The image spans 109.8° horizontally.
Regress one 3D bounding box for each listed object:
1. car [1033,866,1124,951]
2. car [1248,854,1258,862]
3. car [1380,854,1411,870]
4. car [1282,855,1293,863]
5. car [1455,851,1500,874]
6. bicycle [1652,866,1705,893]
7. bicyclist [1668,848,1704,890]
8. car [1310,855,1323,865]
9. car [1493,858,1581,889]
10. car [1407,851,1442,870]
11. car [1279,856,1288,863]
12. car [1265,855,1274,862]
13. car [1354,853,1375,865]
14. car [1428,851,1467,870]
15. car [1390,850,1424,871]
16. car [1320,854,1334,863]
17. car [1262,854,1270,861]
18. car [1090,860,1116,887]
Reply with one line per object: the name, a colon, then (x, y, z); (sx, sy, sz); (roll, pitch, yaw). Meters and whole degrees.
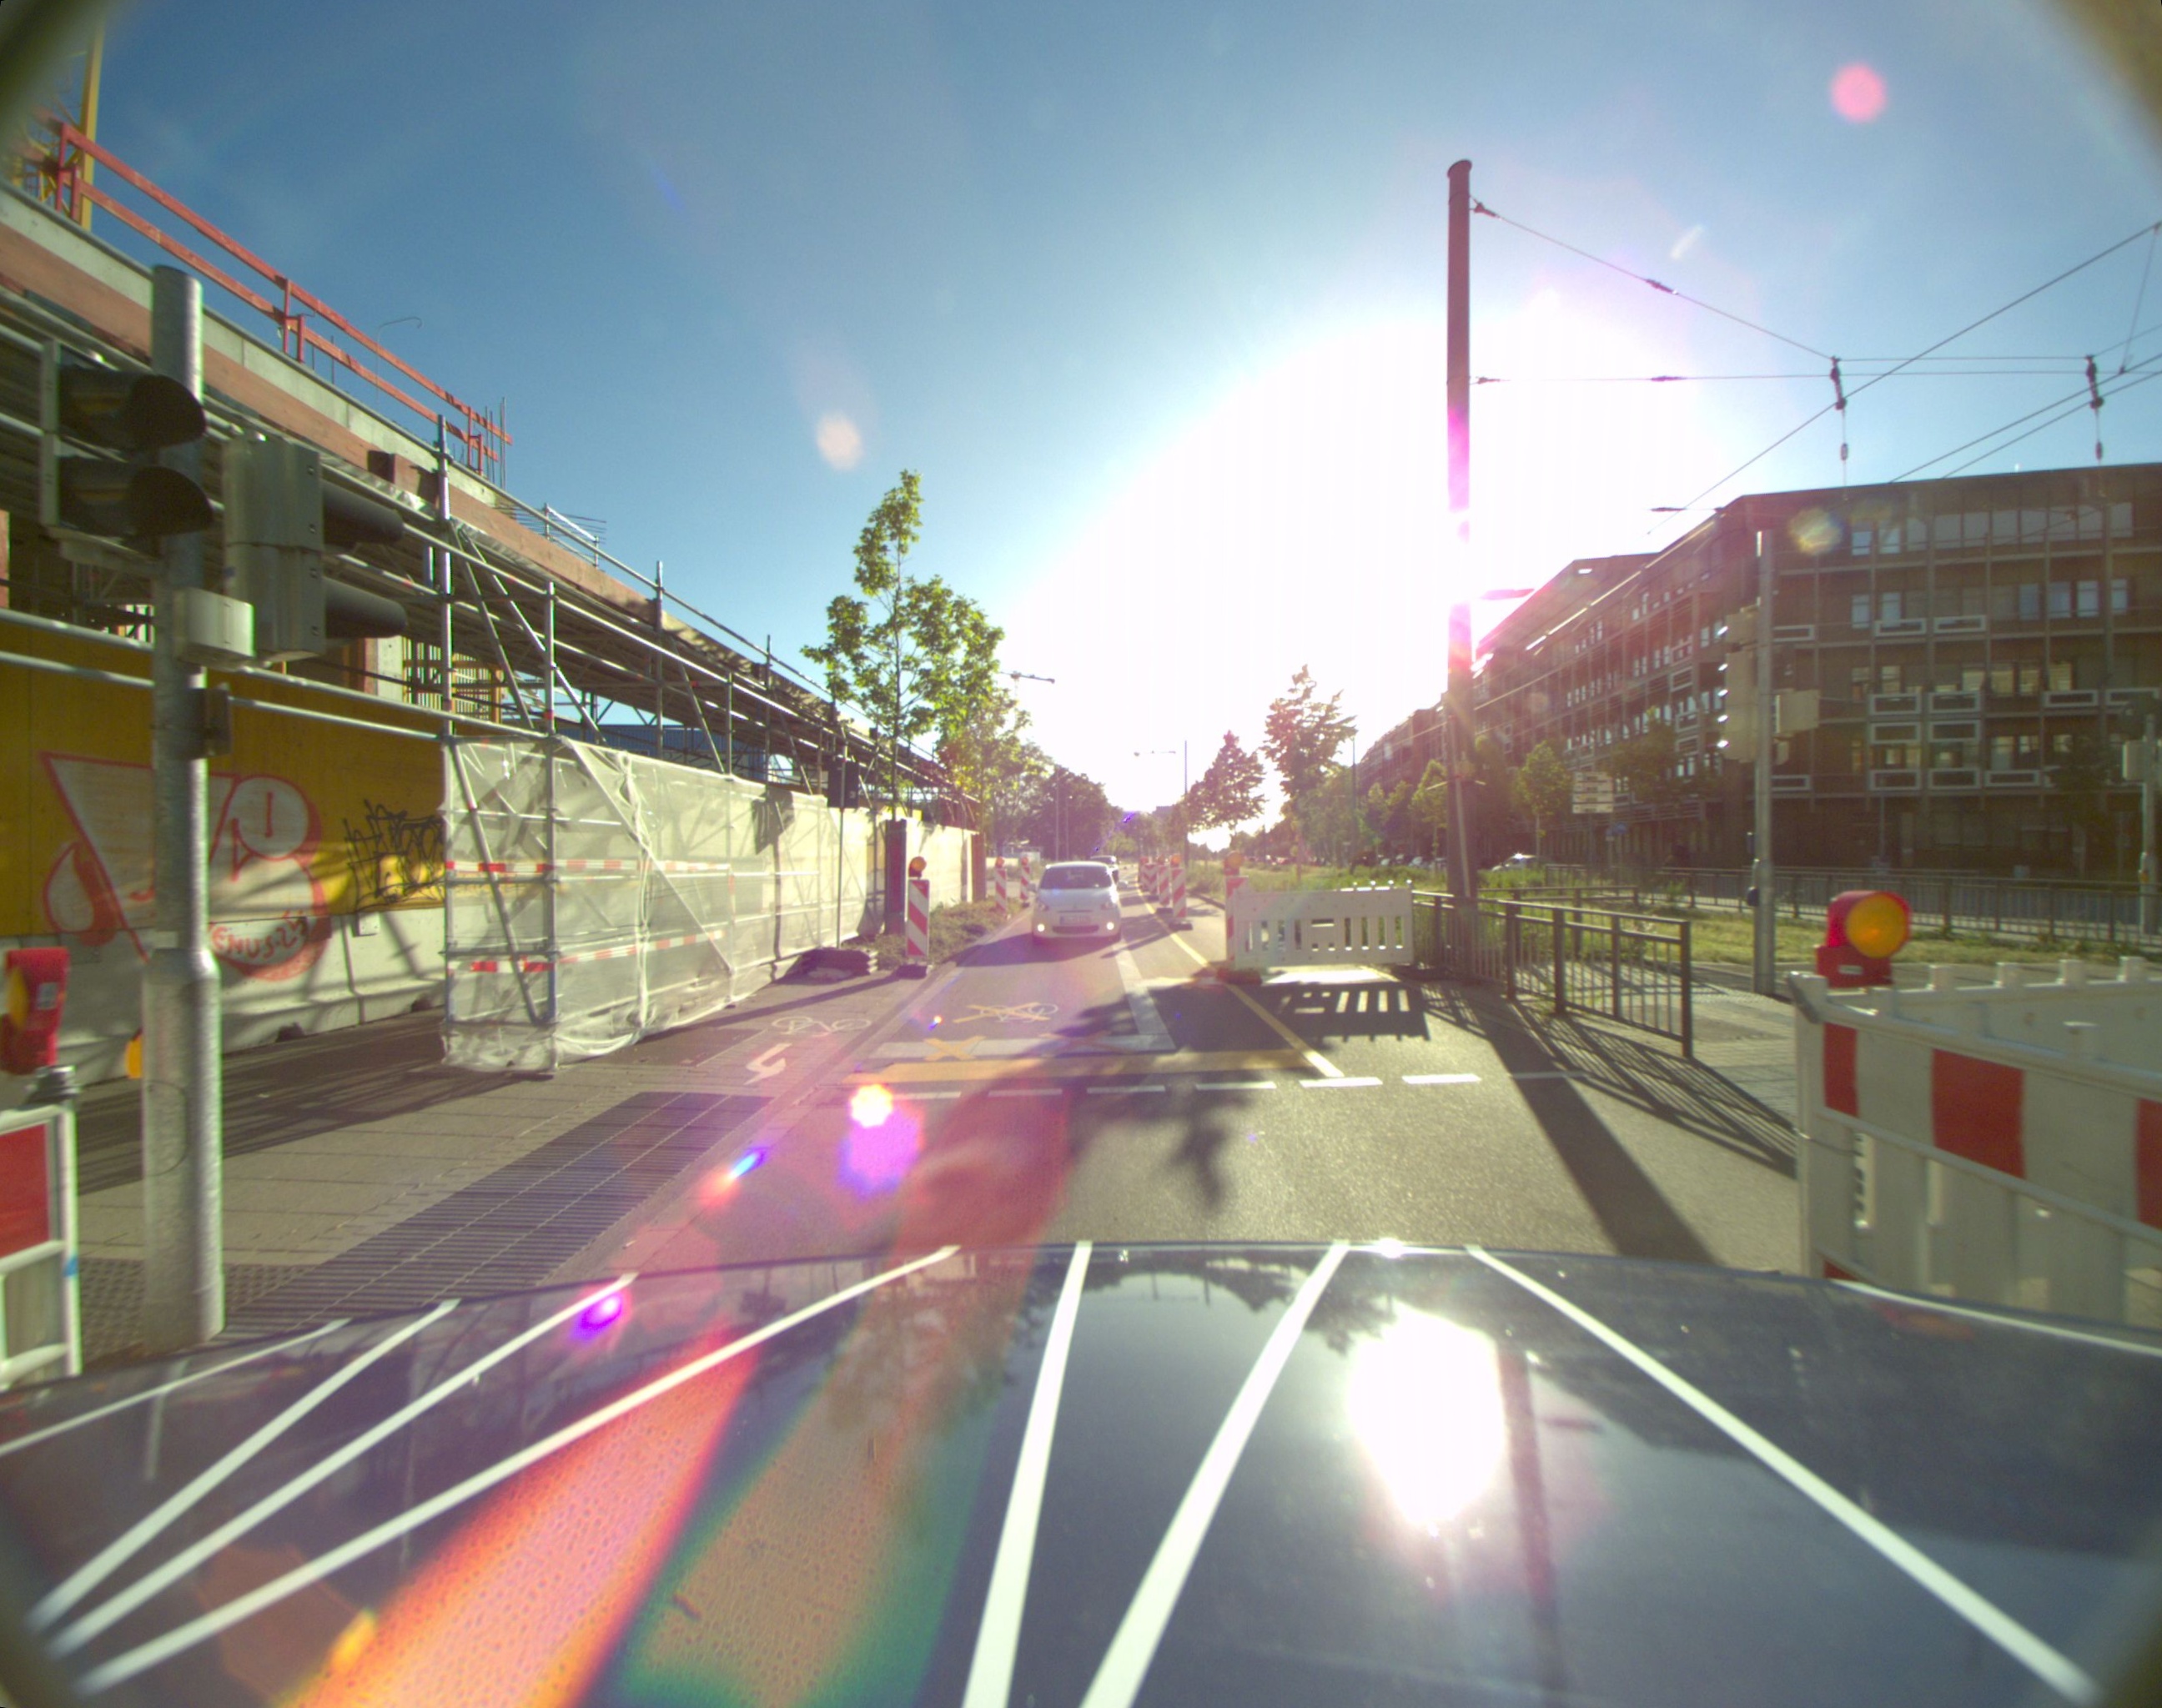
car: (0.046, 1.048, 15.907); (1.614, 1.488, 3.395); (-3, 0, 3)
car: (36.810, 0.913, 162.909); (1.731, 1.736, 4.123); (-1, 0, 6)
car: (31.024, 0.757, 75.071); (1.733, 1.460, 4.507); (-2, -1, 7)
car: (44.428, 1.016, 163.757); (1.719, 1.379, 4.041); (-5, 2, 10)
car: (28.184, 0.597, 54.081); (1.652, 1.545, 3.969); (-1, 0, 9)
bicycle: (23.729, 1.001, 30.201); (0.696, 0.972, 1.827); (-1, 0, 2)
bicyclist: (23.953, 0.579, 30.091); (0.696, 1.648, 0.882); (-1, 0, 2)
car: (45.239, 1.159, 146.182); (1.725, 1.591, 3.636); (-2, -4, 8)
car: (21.871, 0.880, 36.644); (1.857, 1.412, 4.070); (0, 0, 2)
car: (29.198, 0.556, 64.692); (1.741, 1.527, 3.887); (-1, -1, 9)
car: (45.531, 1.159, 170.961); (1.630, 1.487, 4.420); (0, 0, 10)
car: (43.193, 1.069, 174.201); (1.630, 1.487, 3.782); (0, 0, 9)
car: (33.553, 0.563, 90.049); (1.719, 1.379, 4.043); (-1, 0, 12)
car: (28.649, 0.508, 59.512); (1.627, 1.433, 3.821); (-2, 0, 9)
car: (29.787, 0.580, 69.578); (1.754, 1.760, 4.334); (-2, -1, 9)
car: (44.376, 0.772, 137.216); (1.725, 1.535, 3.634); (-2, 0, 8)
car: (46.246, 0.936, 190.139); (1.864, 1.671, 3.783); (0, 0, 10)
car: (1.248, 1.123, 44.521); (1.458, 1.472, 3.528); (0, 0, 1)
